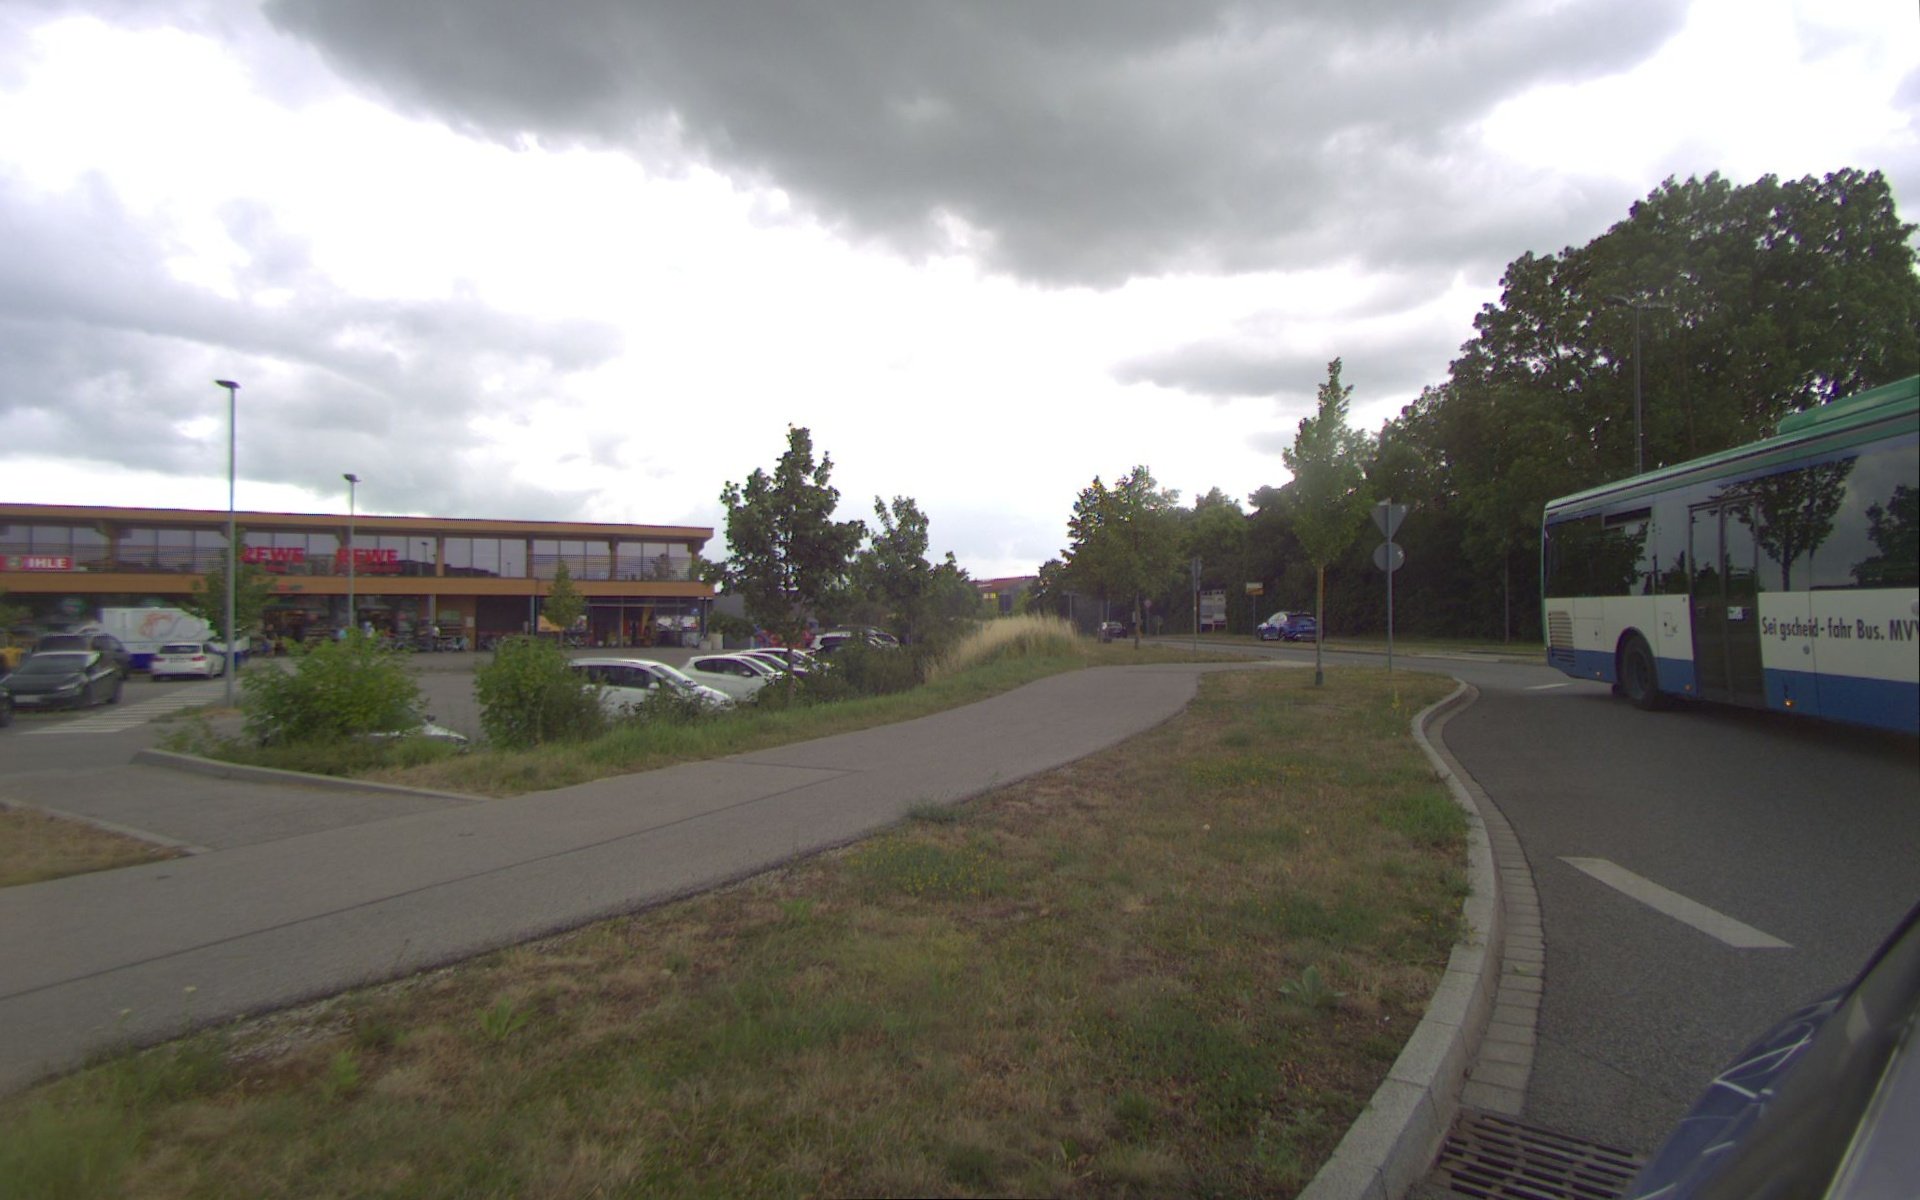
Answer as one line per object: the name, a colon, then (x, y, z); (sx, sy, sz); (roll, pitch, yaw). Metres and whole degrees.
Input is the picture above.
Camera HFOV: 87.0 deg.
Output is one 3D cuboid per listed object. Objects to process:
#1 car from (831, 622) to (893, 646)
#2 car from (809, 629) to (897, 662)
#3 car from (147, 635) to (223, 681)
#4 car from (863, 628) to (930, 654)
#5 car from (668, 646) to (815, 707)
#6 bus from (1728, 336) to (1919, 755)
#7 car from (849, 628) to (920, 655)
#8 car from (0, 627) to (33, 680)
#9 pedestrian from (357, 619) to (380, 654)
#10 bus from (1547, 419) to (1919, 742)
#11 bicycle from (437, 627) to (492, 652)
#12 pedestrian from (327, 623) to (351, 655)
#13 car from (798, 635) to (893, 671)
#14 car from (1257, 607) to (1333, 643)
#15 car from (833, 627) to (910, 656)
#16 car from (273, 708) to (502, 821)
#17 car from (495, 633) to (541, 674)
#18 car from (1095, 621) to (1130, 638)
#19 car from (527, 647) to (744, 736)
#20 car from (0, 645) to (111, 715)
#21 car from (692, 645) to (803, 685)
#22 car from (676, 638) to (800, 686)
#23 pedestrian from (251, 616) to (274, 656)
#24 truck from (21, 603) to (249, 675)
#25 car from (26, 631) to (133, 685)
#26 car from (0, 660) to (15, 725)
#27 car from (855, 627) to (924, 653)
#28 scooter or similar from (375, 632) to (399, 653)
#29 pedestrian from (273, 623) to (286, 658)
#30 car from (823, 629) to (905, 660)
car: (-6.275, 2.142, 64.602); (3.919, 1.462, 1.886); (-1, -1, -7)
car: (-5.004, 2.124, 47.591); (3.824, 1.483, 1.693); (-1, -1, 8)
car: (-29.453, 2.164, 38.579); (1.697, 1.549, 4.004); (0, -1, -29)
car: (-3.843, 2.477, 61.574); (3.824, 1.483, 1.693); (-1, -1, 8)
car: (-6.310, 2.204, 29.603); (3.921, 1.527, 2.001); (-1, 0, -4)
bus: (8.668, -0.417, 7.263); (2.486, 3.299, 6.525); (0, 1, 12)
car: (-4.277, 2.366, 57.651); (3.824, 1.483, 1.693); (-1, -1, 8)
car: (-35.184, 1.942, 36.242); (1.735, 1.878, 4.006); (-1, -1, -23)
pedestrian: (-33.062, 2.023, 56.538); (0.790, 1.923, 0.914); (-4, -4, 41)
bus: (9.937, -0.251, 13.098); (2.487, 3.299, 5.441); (0, 1, 13)
bicycle: (-28.458, 2.251, 58.143); (2.810, 1.326, 0.981); (0, -1, -25)
pedestrian: (-33.151, 2.078, 54.050); (0.791, 1.678, 0.749); (0, -1, 4)
car: (-4.924, 2.295, 43.809); (3.824, 1.483, 1.693); (-1, -1, 8)
car: (14.991, 1.167, 45.500); (1.728, 1.449, 4.083); (-1, -3, -5)
car: (-4.700, 2.186, 53.848); (3.824, 1.483, 1.693); (-1, -1, 8)
car: (-9.262, 2.560, 16.310); (3.699, 1.390, 1.564); (-2, -1, 30)
car: (-18.840, 2.231, 43.076); (1.680, 1.588, 3.675); (0, -1, -25)
car: (12.363, 2.385, 82.081); (1.794, 1.324, 4.118); (1, -1, -6)
car: (-7.362, 2.050, 23.212); (4.364, 1.694, 1.799); (2, 0, 3)
car: (-24.285, 2.070, 27.006); (1.697, 1.573, 4.004); (0, -1, -29)
car: (-7.505, 2.280, 35.819); (3.611, 1.311, 1.413); (-1, -1, 6)
car: (-6.905, 1.927, 31.741); (3.602, 1.311, 1.718); (-1, 0, -6)
pedestrian: (-35.905, 1.849, 52.075); (0.913, 2.039, 0.806); (0, -1, -32)
truck: (-35.131, 1.599, 43.513); (7.111, 2.843, 2.980); (0, -1, -28)
car: (-32.089, 2.075, 37.029); (1.814, 1.747, 4.126); (-2, 0, -24)
car: (-21.844, 2.094, 21.340); (1.799, 1.416, 4.005); (0, 0, -28)
car: (-4.162, 2.380, 59.912); (3.824, 1.483, 1.693); (-1, -1, 8)
scooter or similar: (-32.417, 2.409, 57.239); (0.790, 1.141, 0.988); (-4, -4, 41)
pedestrian: (-39.013, 2.317, 58.004); (0.567, 1.974, 0.526); (0, -1, -26)
car: (-4.777, 2.239, 50.699); (3.824, 1.483, 1.693); (-1, -1, 8)
